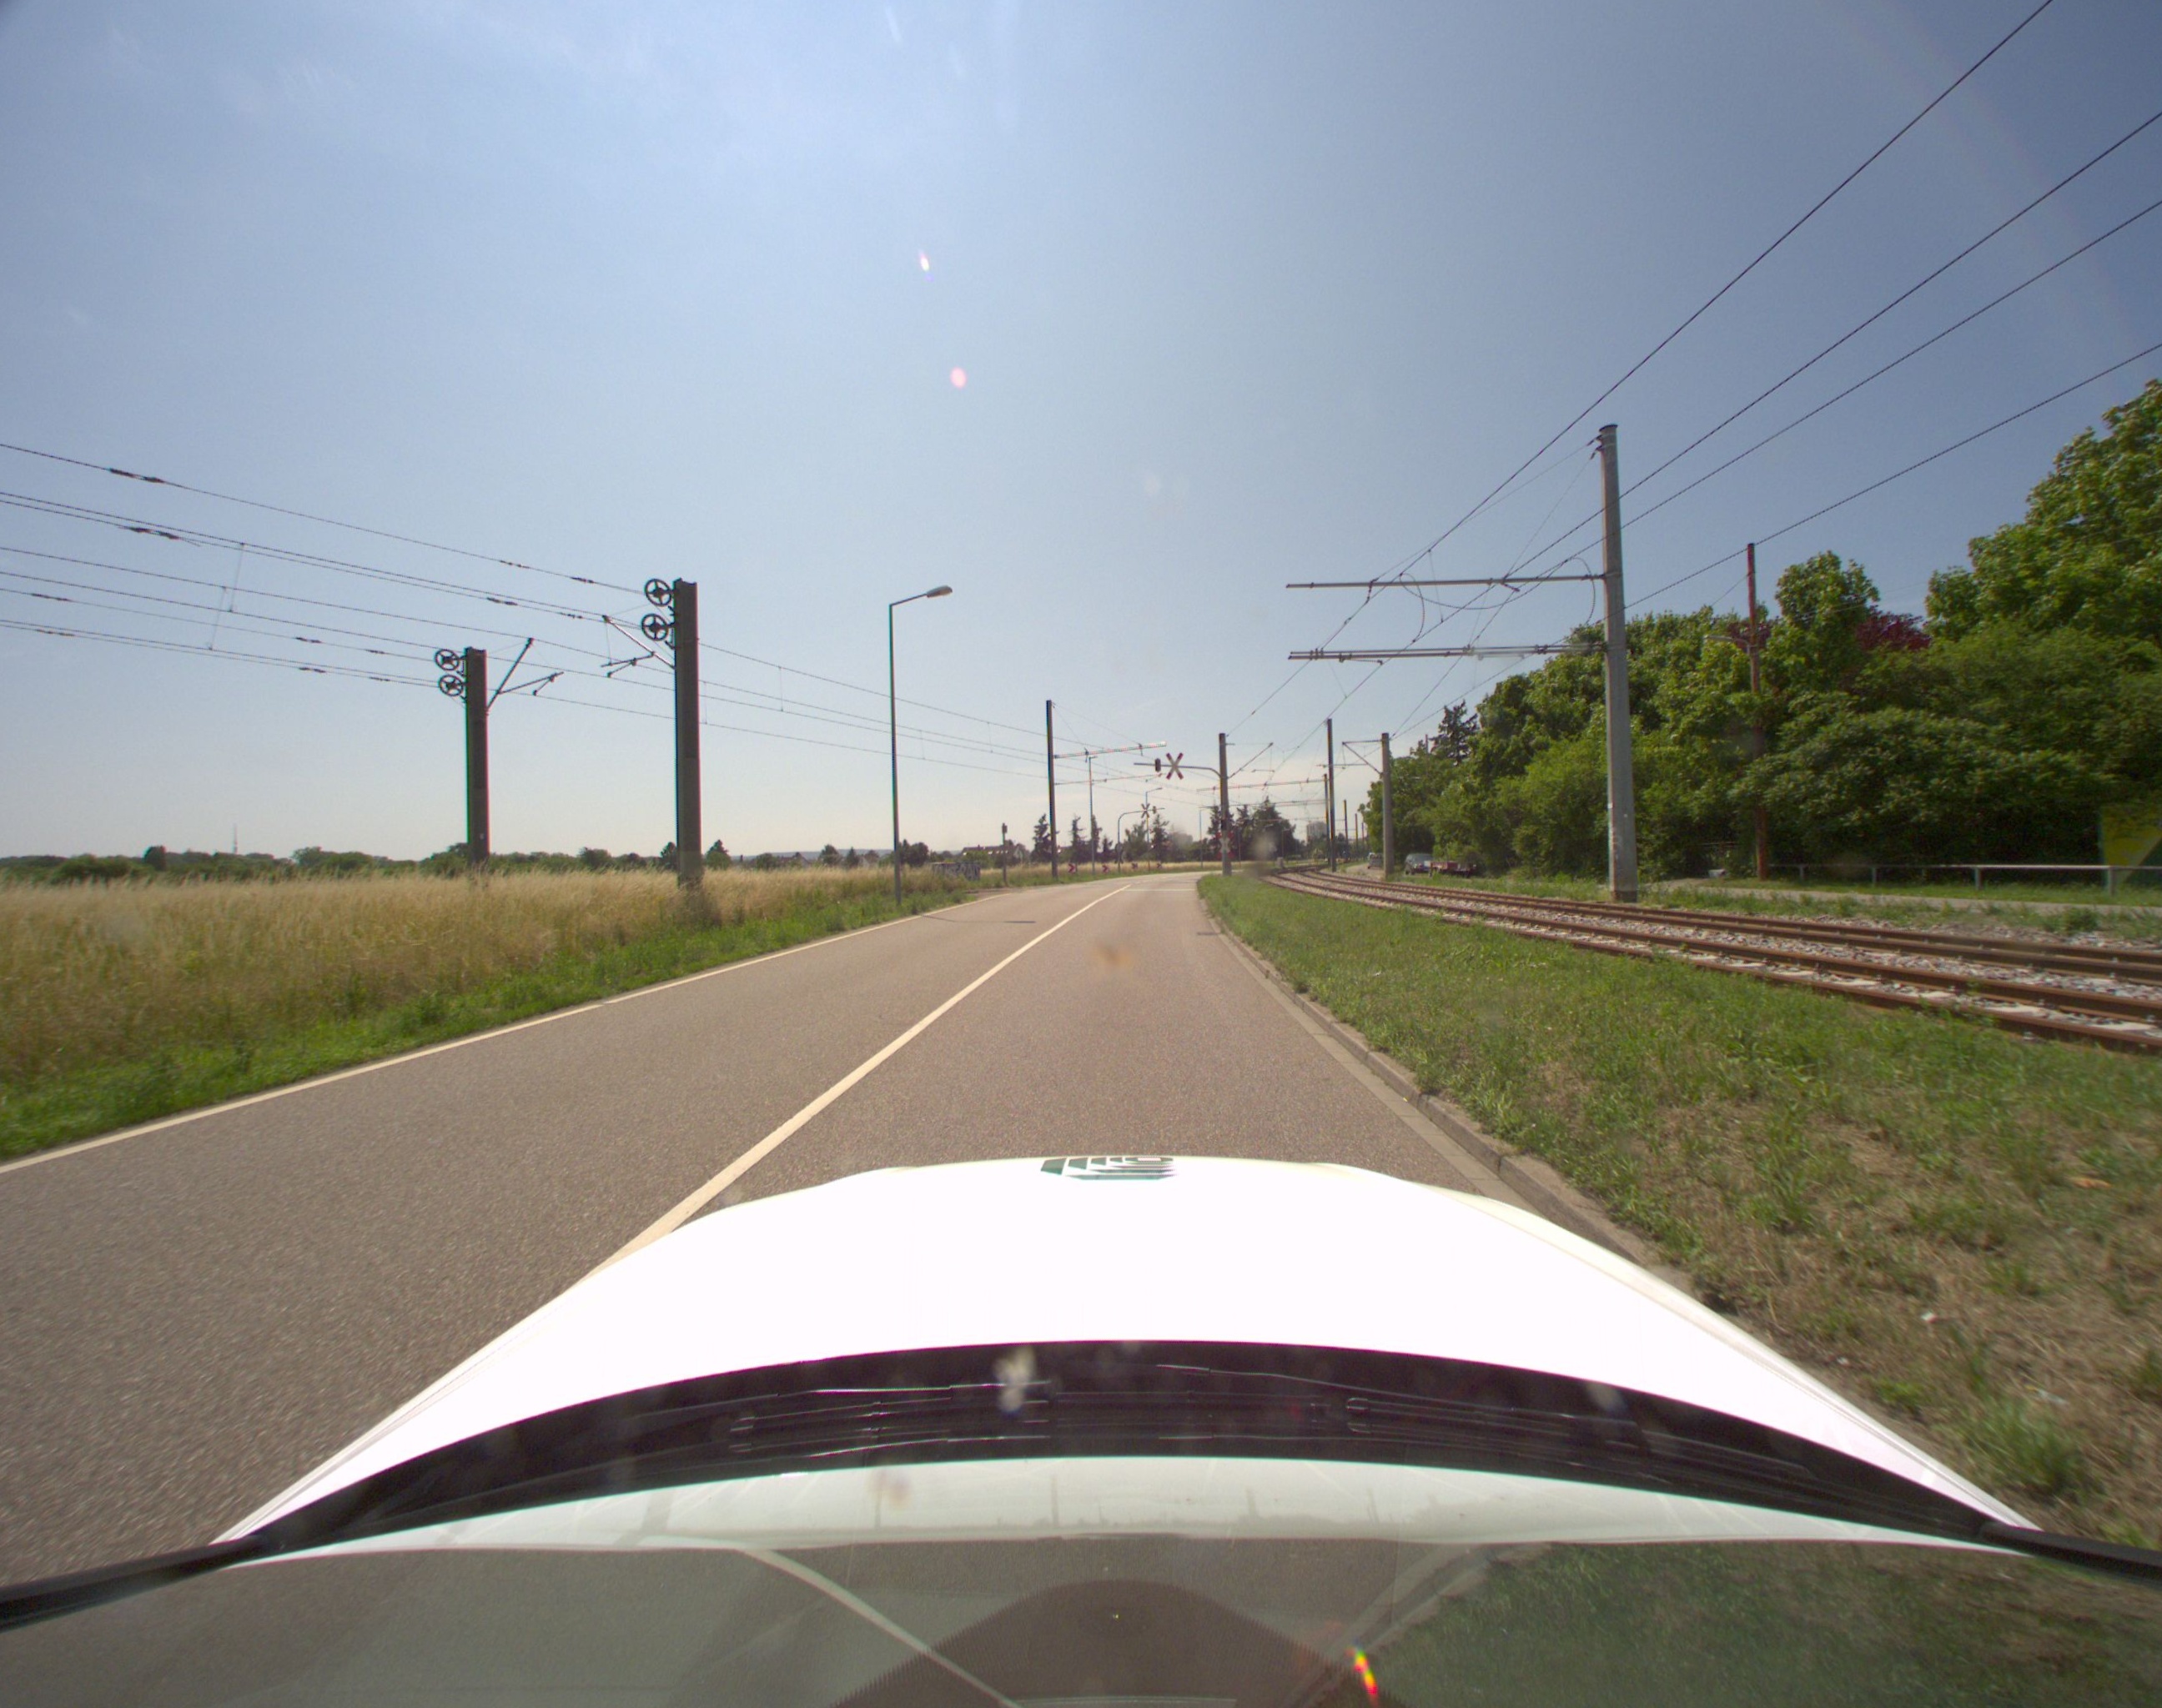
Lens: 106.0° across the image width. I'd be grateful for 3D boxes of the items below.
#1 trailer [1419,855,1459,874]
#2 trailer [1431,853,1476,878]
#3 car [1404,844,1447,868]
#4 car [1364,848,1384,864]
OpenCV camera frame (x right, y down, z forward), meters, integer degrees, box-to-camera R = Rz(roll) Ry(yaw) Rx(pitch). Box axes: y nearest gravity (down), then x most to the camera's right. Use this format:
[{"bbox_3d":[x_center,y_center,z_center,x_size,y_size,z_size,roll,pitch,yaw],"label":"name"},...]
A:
[{"bbox_3d":[21.112,0.613,48.143,1.409,0.994,4.015,0,1,13],"label":"trailer"},{"bbox_3d":[20.162,0.632,44.220,1.451,1.222,4.014,-2,-2,13],"label":"trailer"},{"bbox_3d":[22.511,0.193,53.361,1.784,1.426,4.757,-2,-2,13],"label":"car"},{"bbox_3d":[36.428,0.256,101.204,2.018,1.882,5.096,-3,-2,23],"label":"car"}]
